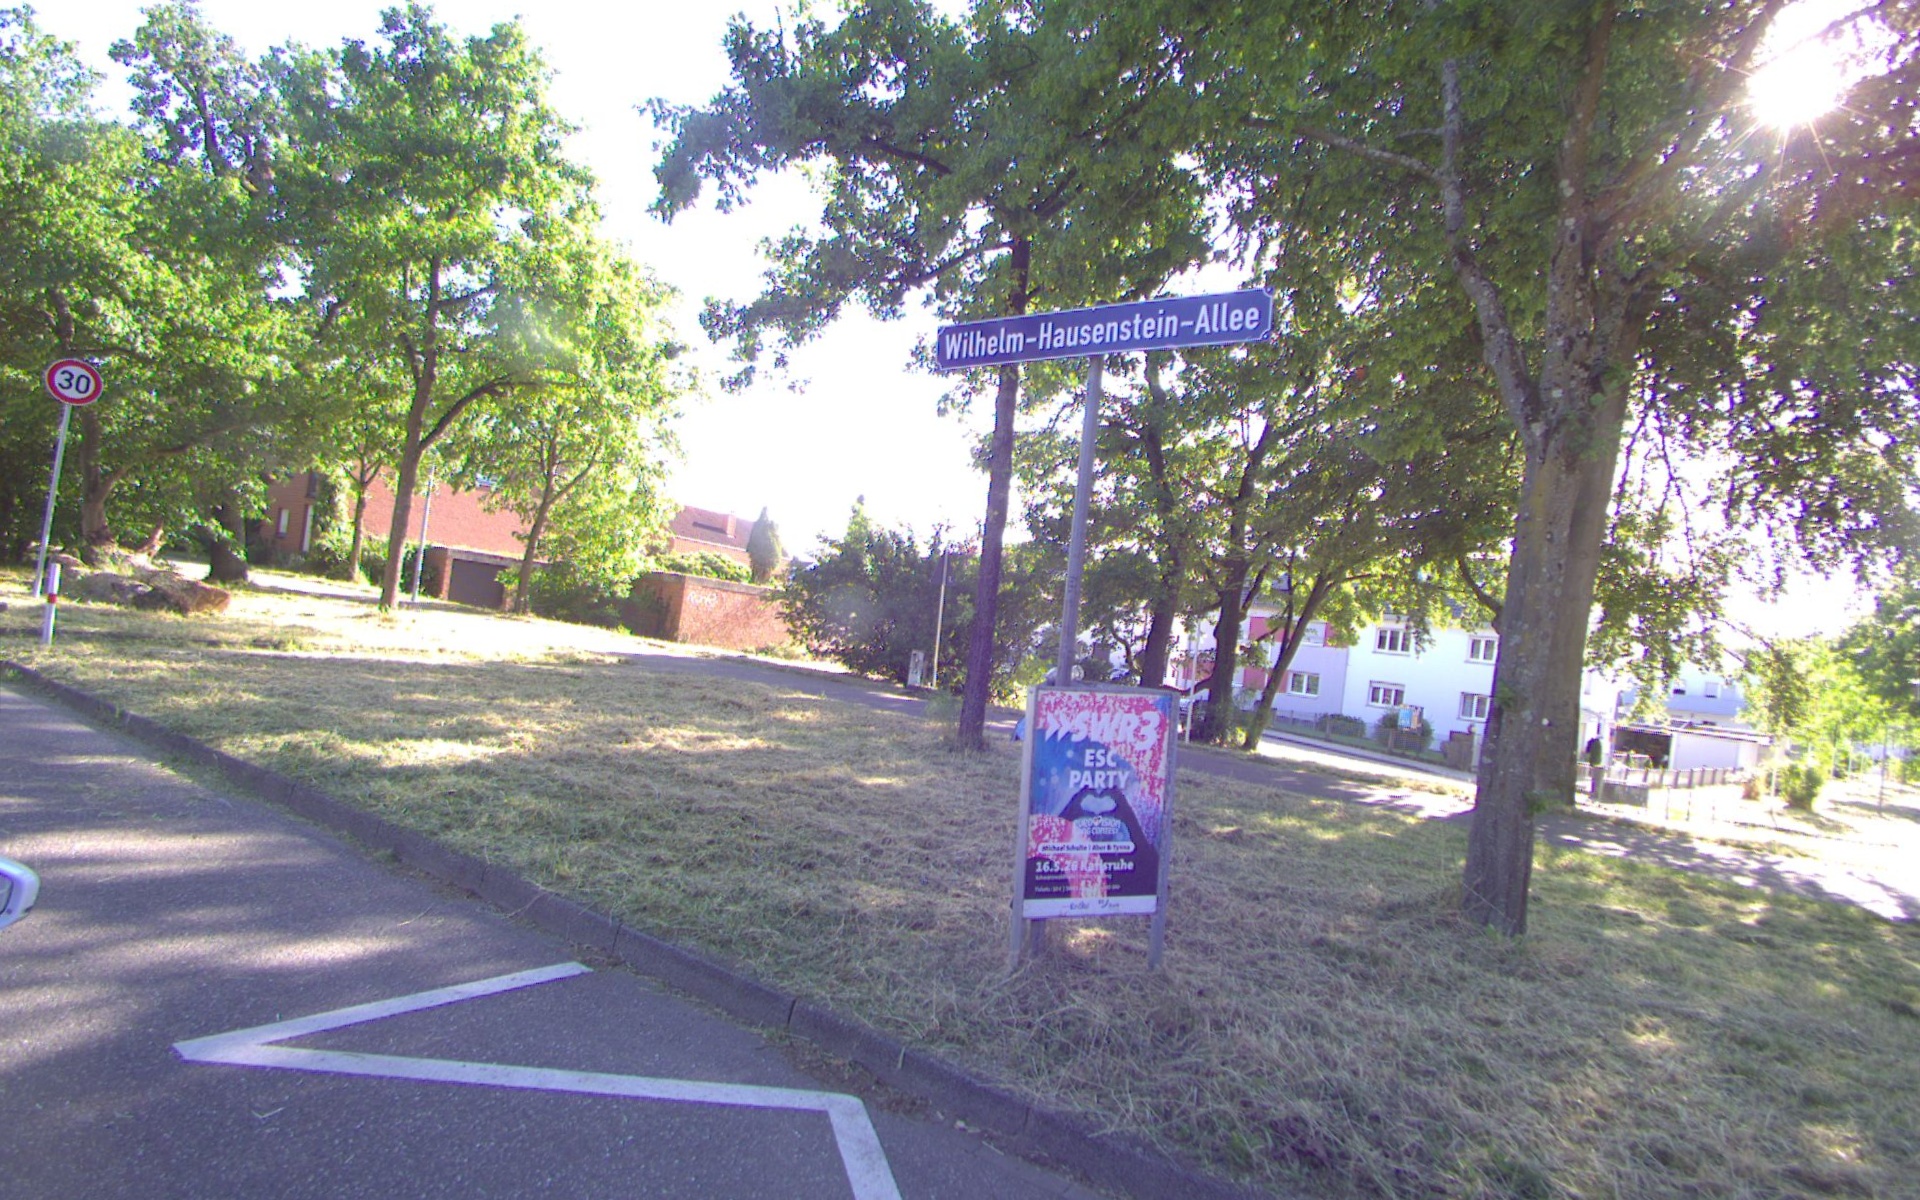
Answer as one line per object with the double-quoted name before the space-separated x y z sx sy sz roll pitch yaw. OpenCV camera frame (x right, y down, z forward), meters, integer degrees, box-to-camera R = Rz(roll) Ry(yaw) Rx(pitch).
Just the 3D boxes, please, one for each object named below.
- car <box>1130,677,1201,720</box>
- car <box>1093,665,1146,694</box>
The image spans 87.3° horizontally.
"car" 9.831 4.714 48.345 1.514 1.569 3.161 9 -2 -29
"car" 10.914 5.456 68.840 3.616 1.515 1.434 10 -3 -40
